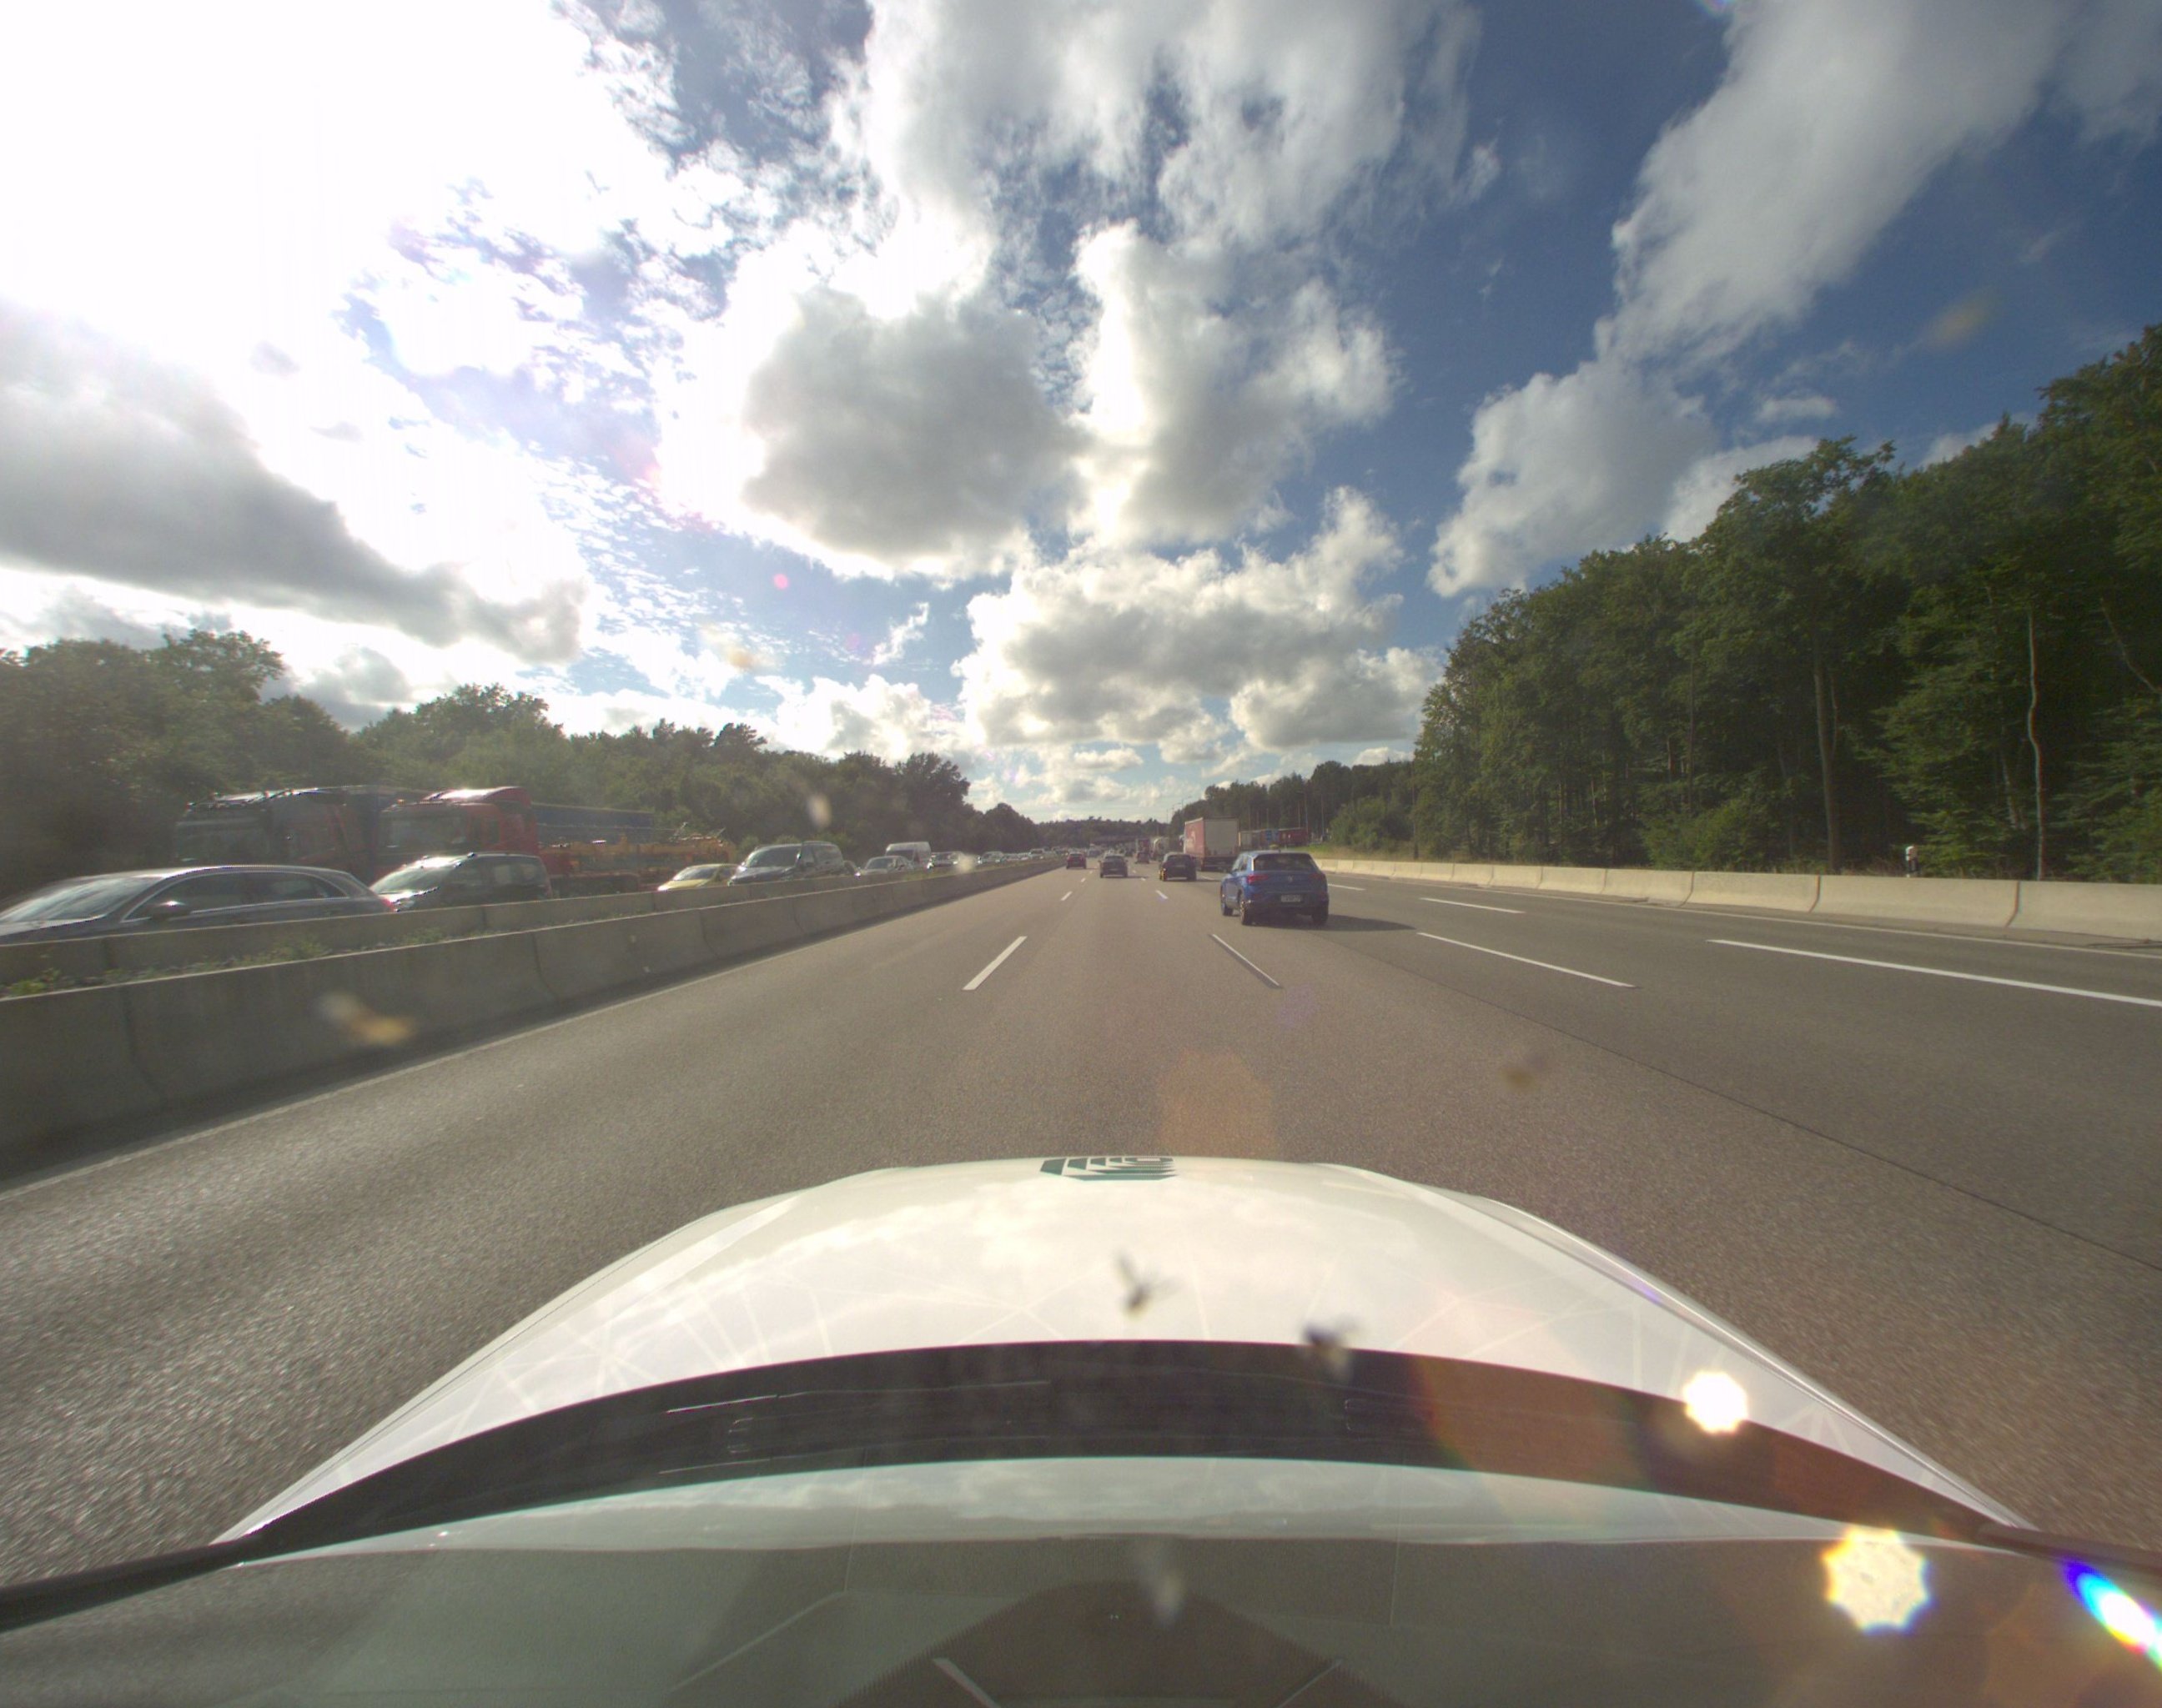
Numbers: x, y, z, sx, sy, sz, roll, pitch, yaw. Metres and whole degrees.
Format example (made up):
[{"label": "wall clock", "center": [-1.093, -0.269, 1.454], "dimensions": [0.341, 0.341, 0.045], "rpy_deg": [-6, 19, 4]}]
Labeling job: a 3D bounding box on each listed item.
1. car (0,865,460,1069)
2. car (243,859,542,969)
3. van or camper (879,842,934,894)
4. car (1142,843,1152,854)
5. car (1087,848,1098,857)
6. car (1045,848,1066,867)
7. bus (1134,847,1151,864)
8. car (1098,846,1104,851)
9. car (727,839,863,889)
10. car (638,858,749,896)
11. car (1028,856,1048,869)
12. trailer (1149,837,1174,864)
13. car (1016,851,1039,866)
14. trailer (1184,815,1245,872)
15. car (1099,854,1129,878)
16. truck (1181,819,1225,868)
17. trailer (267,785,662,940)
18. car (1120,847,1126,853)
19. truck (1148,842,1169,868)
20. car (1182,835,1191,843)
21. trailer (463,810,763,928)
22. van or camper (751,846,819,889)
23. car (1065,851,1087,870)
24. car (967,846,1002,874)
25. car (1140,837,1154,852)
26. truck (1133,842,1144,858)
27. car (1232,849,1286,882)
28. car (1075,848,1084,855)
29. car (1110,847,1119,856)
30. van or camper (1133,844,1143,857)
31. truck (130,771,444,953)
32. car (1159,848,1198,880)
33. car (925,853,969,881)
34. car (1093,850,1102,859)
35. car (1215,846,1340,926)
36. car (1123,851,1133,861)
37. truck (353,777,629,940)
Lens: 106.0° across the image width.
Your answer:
[{"label": "car", "center": [-8.968, 0.939, 8.584], "dimensions": [1.717, 1.603, 4.001], "rpy_deg": [0, 0, 1]}, {"label": "car", "center": [-12.786, 0.996, 15.626], "dimensions": [1.739, 1.766, 4.615], "rpy_deg": [0, 0, 1]}, {"label": "van or camper", "center": [-11.338, 0.846, 53.443], "dimensions": [2.131, 3.172, 6.246], "rpy_deg": [0, 0, 1]}, {"label": "car", "center": [13.279, -1.088, 164.132], "dimensions": [1.986, 2.014, 4.001], "rpy_deg": [-1, -1, 2]}, {"label": "car", "center": [2.355, -0.265, 170.256], "dimensions": [2.146, 1.776, 4.002], "rpy_deg": [0, -1, 2]}, {"label": "car", "center": [-2.756, 0.341, 88.718], "dimensions": [1.985, 1.920, 4.004], "rpy_deg": [-1, 1, 4]}, {"label": "bus", "center": [7.602, 0.228, 101.340], "dimensions": [1.986, 2.014, 4.002], "rpy_deg": [-1, -1, 2]}, {"label": "car", "center": [5.899, -1.712, 239.290], "dimensions": [1.617, 1.470, 3.817], "rpy_deg": [0, 0, 3]}, {"label": "car", "center": [-8.460, 0.268, 24.815], "dimensions": [1.808, 1.349, 6.234], "rpy_deg": [0, 0, 1]}, {"label": "car", "center": [-12.336, 0.685, 26.202], "dimensions": [1.579, 1.127, 4.001], "rpy_deg": [0, 0, 1]}, {"label": "car", "center": [-5.463, 1.036, 104.614], "dimensions": [1.985, 1.572, 4.819], "rpy_deg": [-1, 0, 3]}, {"label": "trailer", "center": [12.541, -0.465, 128.212], "dimensions": [3.025, 4.016, 12.249], "rpy_deg": [-1, -1, 2]}, {"label": "car", "center": [-6.006, 0.501, 91.990], "dimensions": [1.986, 1.735, 5.093], "rpy_deg": [0, 0, 2]}, {"label": "trailer", "center": [10.294, -0.588, 64.426], "dimensions": [3.027, 4.035, 13.895], "rpy_deg": [-1, -1, 2]}, {"label": "car", "center": [2.069, 0.731, 51.861], "dimensions": [1.728, 1.365, 4.000], "rpy_deg": [0, 1, 0]}, {"label": "truck", "center": [10.543, -0.812, 71.131], "dimensions": [3.068, 4.064, 6.072], "rpy_deg": [-1, -1, 2]}, {"label": "trailer", "center": [-20.122, 0.196, 28.806], "dimensions": [2.798, 4.119, 14.050], "rpy_deg": [0, 0, 2]}, {"label": "car", "center": [13.369, -1.292, 257.806], "dimensions": [1.986, 2.013, 4.002], "rpy_deg": [0, 0, 2]}, {"label": "truck", "center": [12.795, 0.252, 134.697], "dimensions": [3.034, 4.160, 7.130], "rpy_deg": [-1, -1, 2]}, {"label": "car", "center": [29.038, -4.221, 224.578], "dimensions": [1.986, 2.013, 4.002], "rpy_deg": [-2, 0, 2]}, {"label": "trailer", "center": [-16.106, 0.383, 30.313], "dimensions": [2.718, 3.335, 14.223], "rpy_deg": [-1, 0, 1]}, {"label": "van or camper", "center": [-23.069, 1.007, 63.935], "dimensions": [2.563, 3.077, 7.197], "rpy_deg": [-1, 0, 1]}, {"label": "car", "center": [-0.463, 0.593, 78.552], "dimensions": [1.985, 1.776, 4.003], "rpy_deg": [0, 0, 2]}, {"label": "car", "center": [-7.146, 0.397, 60.716], "dimensions": [1.874, 2.013, 4.523], "rpy_deg": [0, 0, 3]}, {"label": "car", "center": [14.042, -1.986, 173.829], "dimensions": [2.854, 2.992, 5.153], "rpy_deg": [-1, -1, 3]}, {"label": "truck", "center": [13.462, -0.874, 191.223], "dimensions": [2.348, 3.572, 11.275], "rpy_deg": [-1, -1, 3]}, {"label": "car", "center": [8.850, 0.578, 40.819], "dimensions": [1.709, 1.511, 4.301], "rpy_deg": [-2, -1, 0]}, {"label": "car", "center": [-0.433, -0.566, 202.699], "dimensions": [1.985, 1.572, 5.334], "rpy_deg": [1, 0, 3]}, {"label": "car", "center": [7.688, -0.550, 188.653], "dimensions": [1.986, 2.014, 4.001], "rpy_deg": [-2, -1, 2]}, {"label": "van or camper", "center": [13.863, -0.812, 197.935], "dimensions": [2.341, 3.144, 5.715], "rpy_deg": [-1, -1, 3]}, {"label": "truck", "center": [-20.438, 0.174, 21.495], "dimensions": [2.801, 4.149, 5.454], "rpy_deg": [-1, 0, 1]}, {"label": "car", "center": [5.217, 0.546, 43.945], "dimensions": [1.792, 1.644, 4.002], "rpy_deg": [0, -1, 2]}, {"label": "car", "center": [-7.975, 0.748, 48.748], "dimensions": [1.829, 1.591, 4.290], "rpy_deg": [0, 0, 1]}, {"label": "car", "center": [4.067, 0.124, 199.193], "dimensions": [1.986, 2.013, 4.002], "rpy_deg": [0, 0, 2]}, {"label": "car", "center": [4.265, 0.645, 18.416], "dimensions": [1.916, 1.541, 4.649], "rpy_deg": [-1, 0, 3]}, {"label": "car", "center": [9.883, 0.497, 169.871], "dimensions": [1.986, 2.014, 4.002], "rpy_deg": [0, -1, 2]}, {"label": "truck", "center": [-16.259, 0.105, 23.239], "dimensions": [2.766, 3.938, 6.854], "rpy_deg": [-1, 0, 1]}]
